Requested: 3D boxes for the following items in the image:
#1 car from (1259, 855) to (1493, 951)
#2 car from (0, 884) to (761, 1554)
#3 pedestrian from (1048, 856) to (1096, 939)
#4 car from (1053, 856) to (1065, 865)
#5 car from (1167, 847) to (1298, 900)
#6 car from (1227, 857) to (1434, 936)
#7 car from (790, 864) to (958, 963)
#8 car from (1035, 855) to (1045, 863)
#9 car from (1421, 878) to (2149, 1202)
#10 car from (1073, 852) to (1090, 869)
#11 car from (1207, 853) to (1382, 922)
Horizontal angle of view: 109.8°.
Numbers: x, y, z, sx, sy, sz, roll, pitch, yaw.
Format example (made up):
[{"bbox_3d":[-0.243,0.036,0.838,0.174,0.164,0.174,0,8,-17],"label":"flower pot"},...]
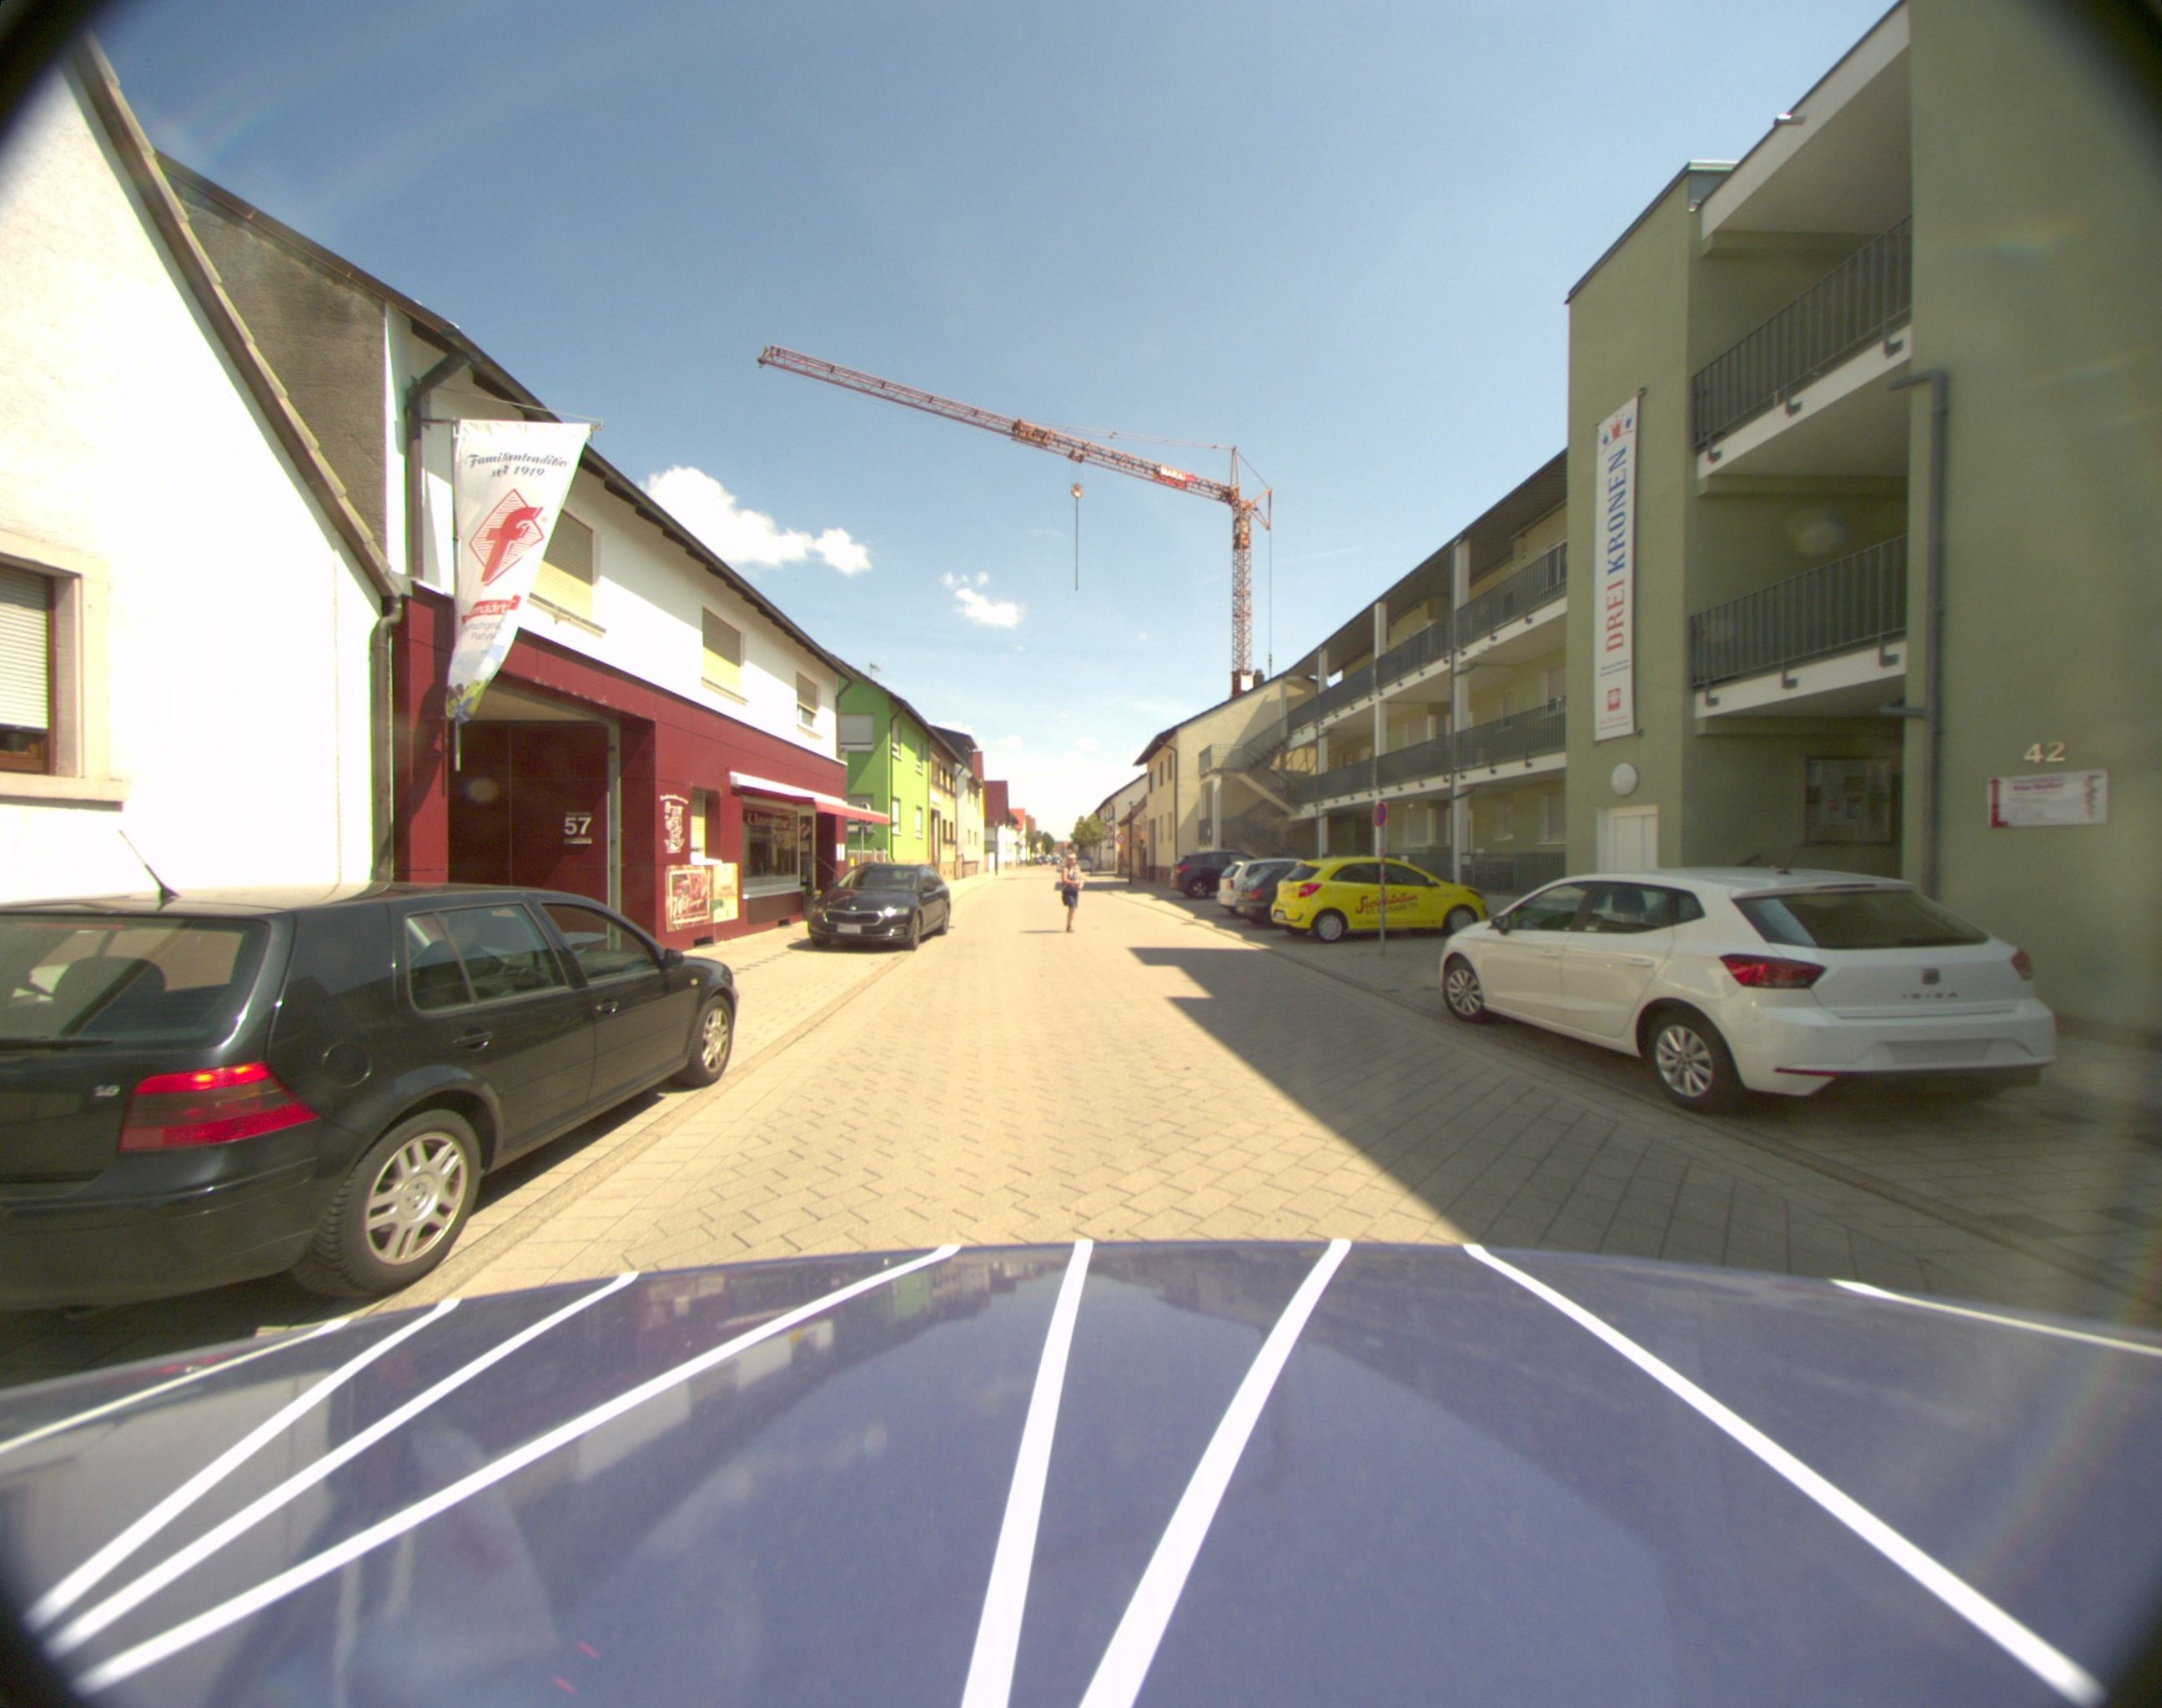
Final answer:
[{"bbox_3d":[5.451,0.863,14.295,3.703,1.516,1.671,-2,0,-6],"label":"car"},{"bbox_3d":[-3.334,0.965,3.863,1.764,1.430,4.118,1,0,-2],"label":"car"},{"bbox_3d":[-0.184,0.868,15.566,0.749,1.630,0.731,-2,1,-19],"label":"pedestrian"},{"bbox_3d":[-3.769,1.150,132.511,1.958,1.521,4.000,0,0,-1],"label":"car"},{"bbox_3d":[5.330,0.672,27.017,4.230,1.649,1.784,-2,1,-1],"label":"car"},{"bbox_3d":[5.439,0.902,16.884,3.998,1.433,1.691,-3,1,-2],"label":"car"},{"bbox_3d":[-3.658,0.981,14.363,1.863,1.450,4.585,2,0,0],"label":"car"},{"bbox_3d":[-7.164,0.802,132.856,1.726,1.420,3.818,0,0,-1],"label":"car"},{"bbox_3d":[4.359,0.972,5.686,1.762,1.402,3.877,-2,0,-2],"label":"car"},{"bbox_3d":[0.038,0.620,74.731,1.576,1.552,2.822,-3,0,1],"label":"car"},{"bbox_3d":[5.362,0.824,19.403,3.911,1.494,1.750,-3,0,-1],"label":"car"}]
